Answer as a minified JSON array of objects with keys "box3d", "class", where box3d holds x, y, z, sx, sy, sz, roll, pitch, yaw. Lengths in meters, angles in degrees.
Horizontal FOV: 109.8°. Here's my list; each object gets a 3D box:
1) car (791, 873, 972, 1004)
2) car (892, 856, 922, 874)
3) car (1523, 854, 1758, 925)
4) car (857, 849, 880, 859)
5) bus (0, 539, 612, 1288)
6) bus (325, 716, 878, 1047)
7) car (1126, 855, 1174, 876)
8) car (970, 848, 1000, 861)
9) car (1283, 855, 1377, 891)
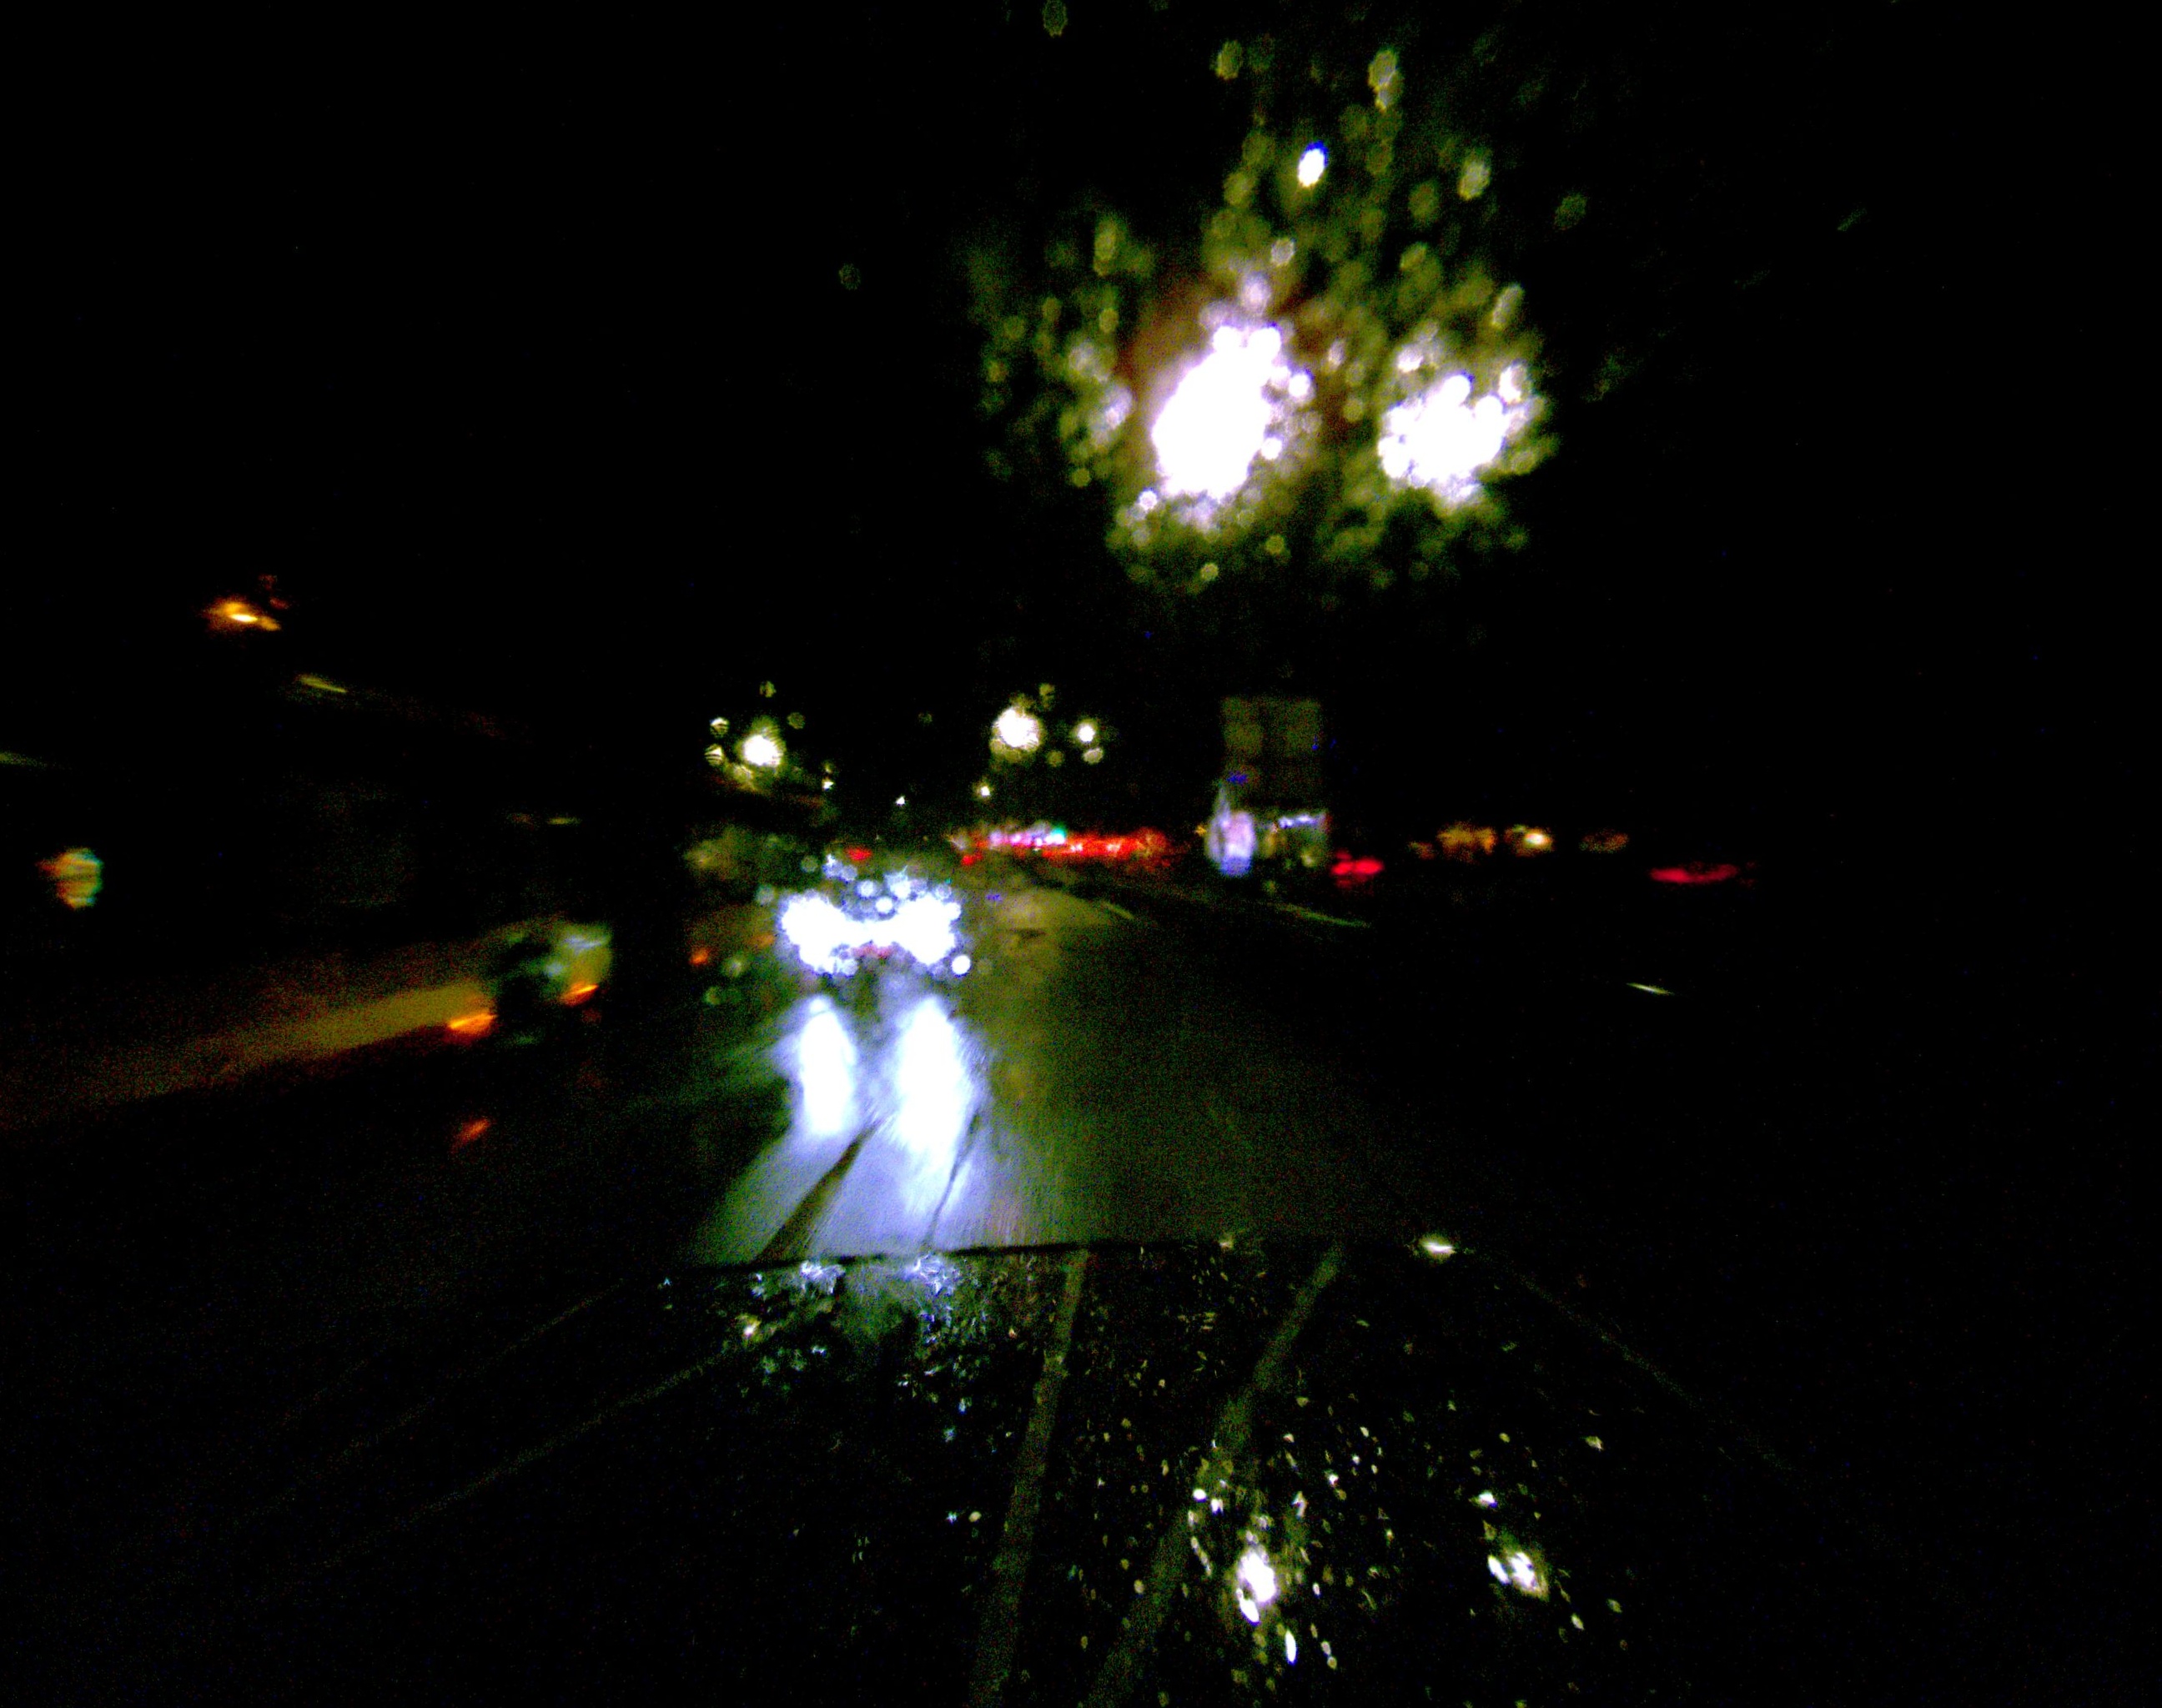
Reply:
[{"box3d":[-2.824,1.123,11.711,1.725,1.478,4.161,-4,0,-2],"class":"car"},{"box3d":[-15.183,0.940,66.087,1.613,1.438,3.964,0,0,-27],"class":"car"},{"box3d":[12.746,0.726,17.782,1.900,1.381,4.610,-1,0,-3],"class":"car"},{"box3d":[-31.797,-0.052,113.724,1.904,1.381,4.829,-2,0,-34],"class":"car"},{"box3d":[-6.082,0.280,2.657,2.740,3.258,9.700,-1,0,0],"class":"bus"},{"box3d":[-6.043,0.275,12.387,2.740,3.219,9.700,-1,0,0],"class":"bus"},{"box3d":[4.891,0.775,54.508,1.902,1.381,4.835,-1,0,-15],"class":"car"},{"box3d":[-11.310,0.094,89.115,1.904,1.381,4.830,-2,0,-29],"class":"car"},{"box3d":[10.528,0.761,32.555,1.901,1.381,4.838,-1,0,-7],"class":"car"}]
